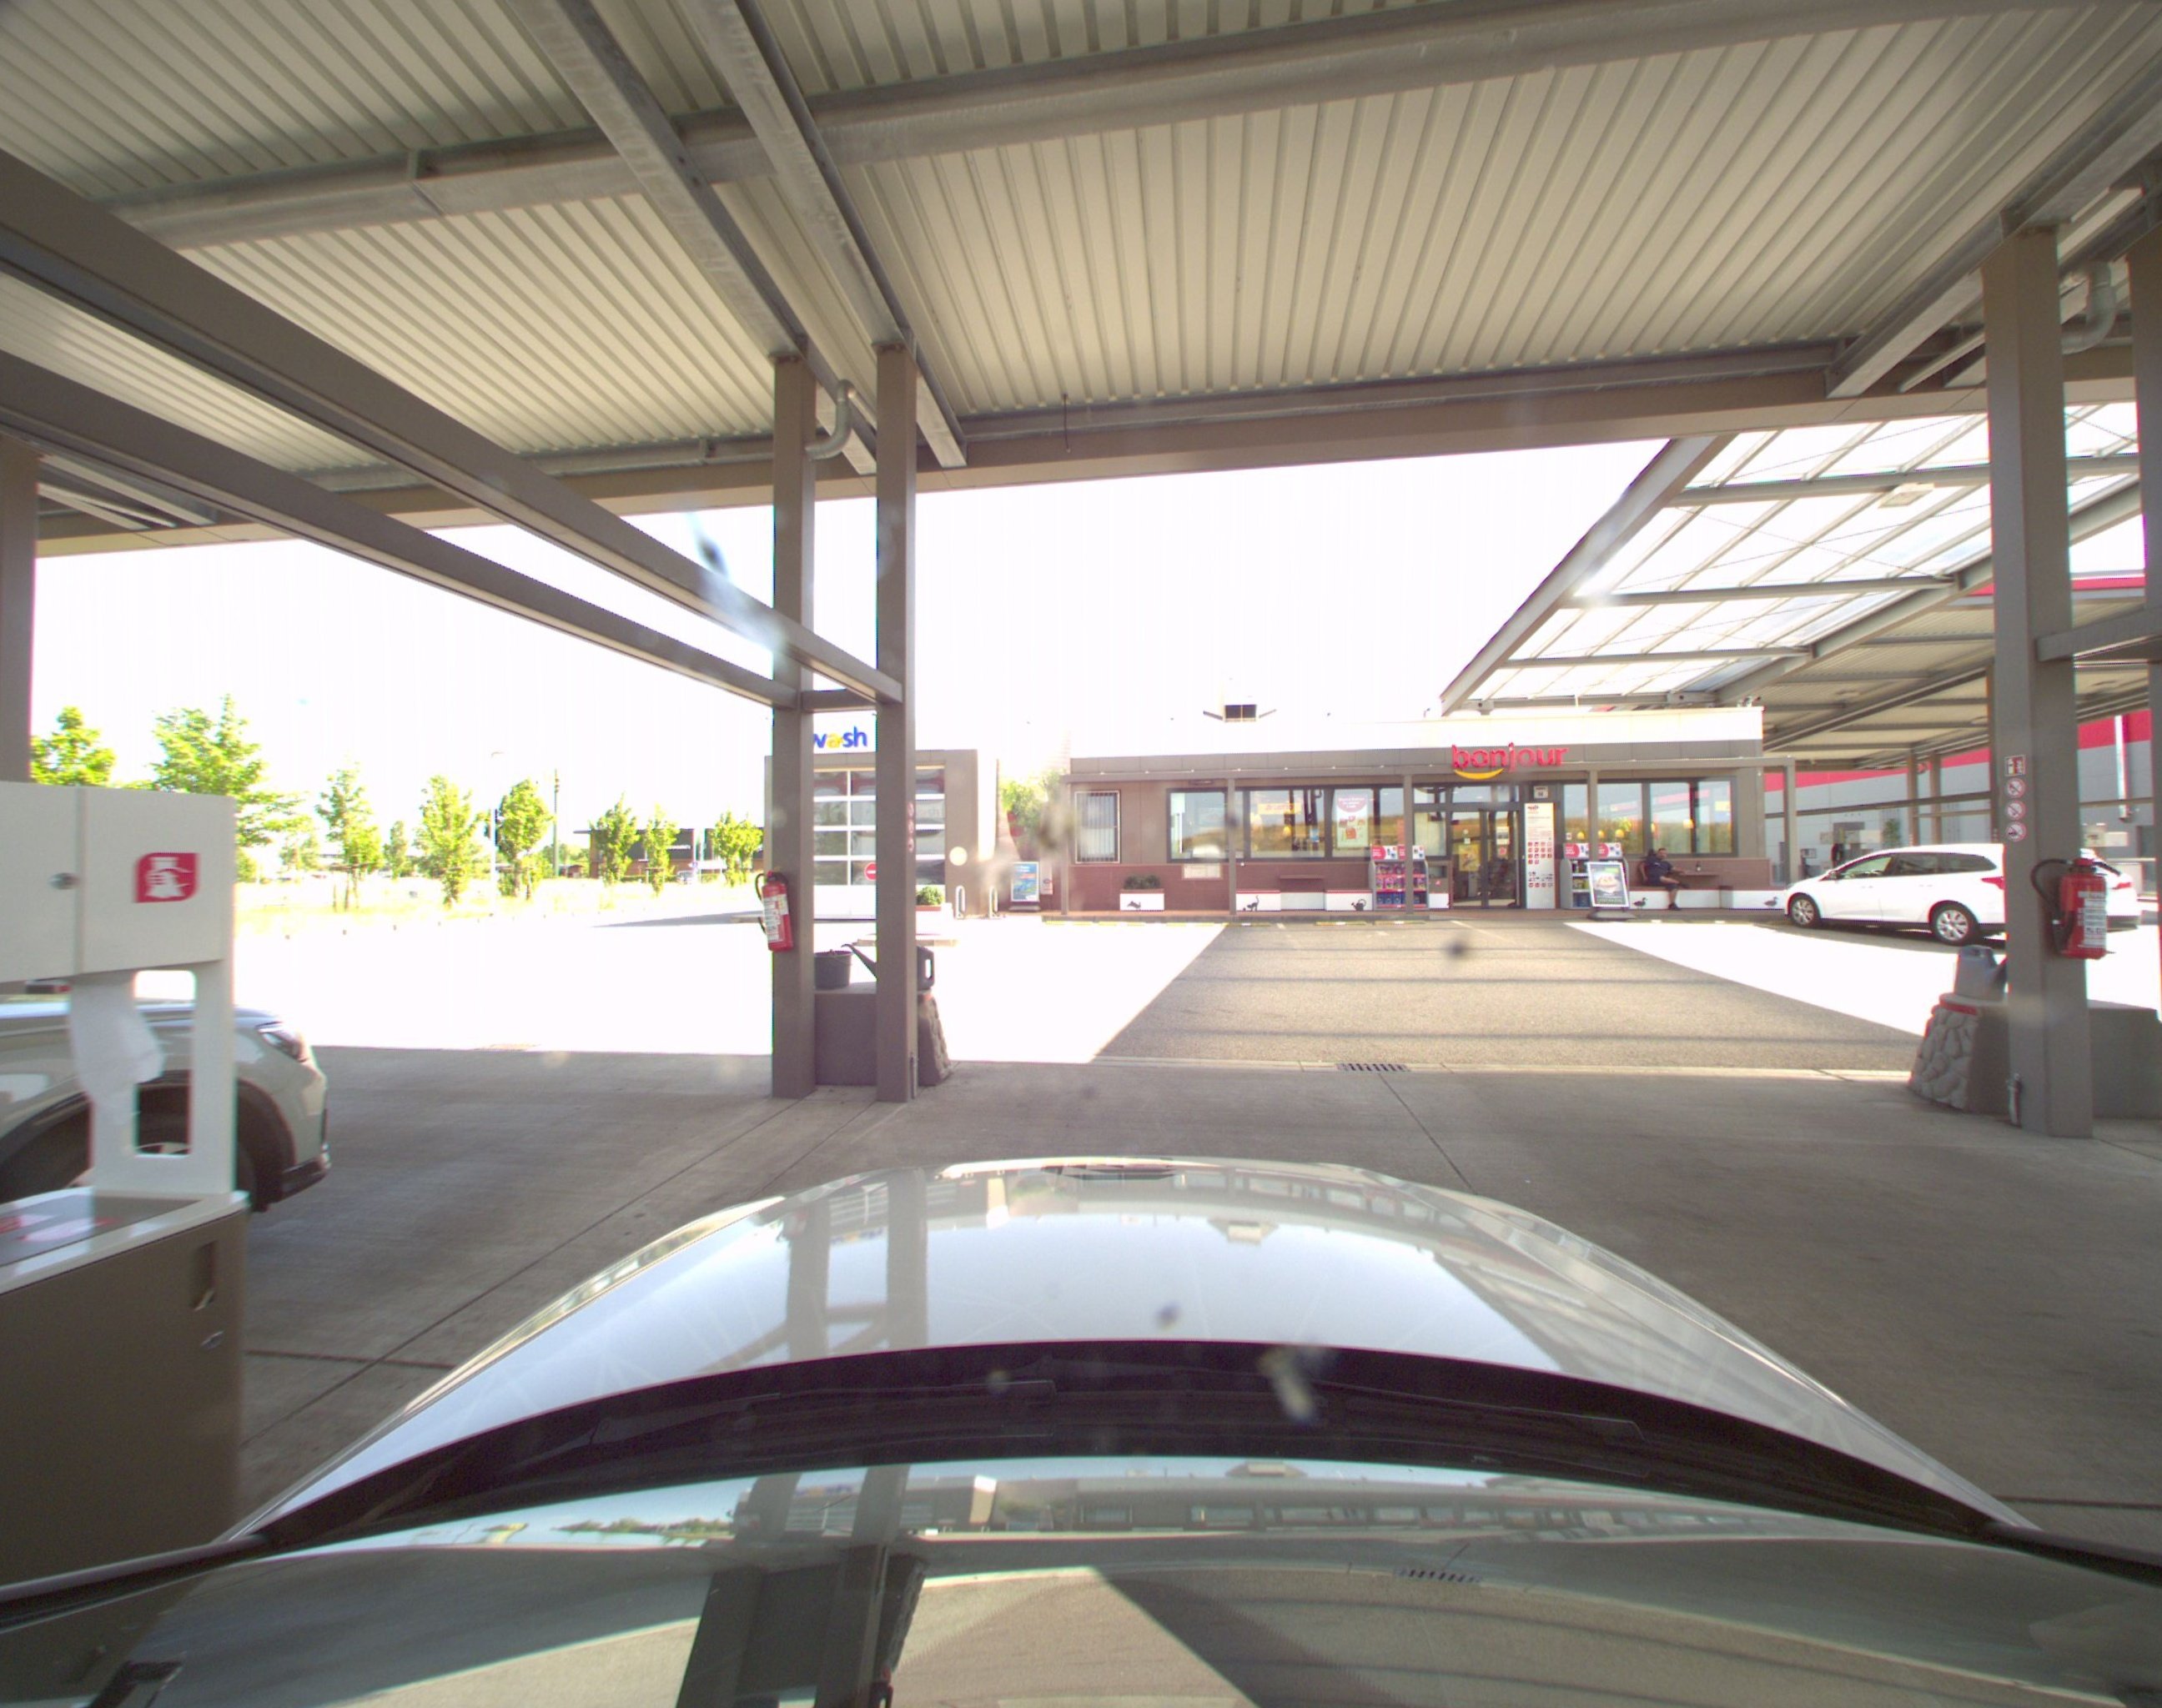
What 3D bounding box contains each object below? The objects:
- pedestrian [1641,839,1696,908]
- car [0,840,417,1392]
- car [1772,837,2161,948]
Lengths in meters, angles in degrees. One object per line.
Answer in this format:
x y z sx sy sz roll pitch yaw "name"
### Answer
12.570 0.407 17.429 0.697 1.432 0.674 -1 -1 7 "pedestrian"
-4.057 0.742 1.463 1.770 1.541 4.336 -1 0 9 "car"
13.705 0.523 12.995 1.822 1.457 4.324 -1 0 3 "car"
